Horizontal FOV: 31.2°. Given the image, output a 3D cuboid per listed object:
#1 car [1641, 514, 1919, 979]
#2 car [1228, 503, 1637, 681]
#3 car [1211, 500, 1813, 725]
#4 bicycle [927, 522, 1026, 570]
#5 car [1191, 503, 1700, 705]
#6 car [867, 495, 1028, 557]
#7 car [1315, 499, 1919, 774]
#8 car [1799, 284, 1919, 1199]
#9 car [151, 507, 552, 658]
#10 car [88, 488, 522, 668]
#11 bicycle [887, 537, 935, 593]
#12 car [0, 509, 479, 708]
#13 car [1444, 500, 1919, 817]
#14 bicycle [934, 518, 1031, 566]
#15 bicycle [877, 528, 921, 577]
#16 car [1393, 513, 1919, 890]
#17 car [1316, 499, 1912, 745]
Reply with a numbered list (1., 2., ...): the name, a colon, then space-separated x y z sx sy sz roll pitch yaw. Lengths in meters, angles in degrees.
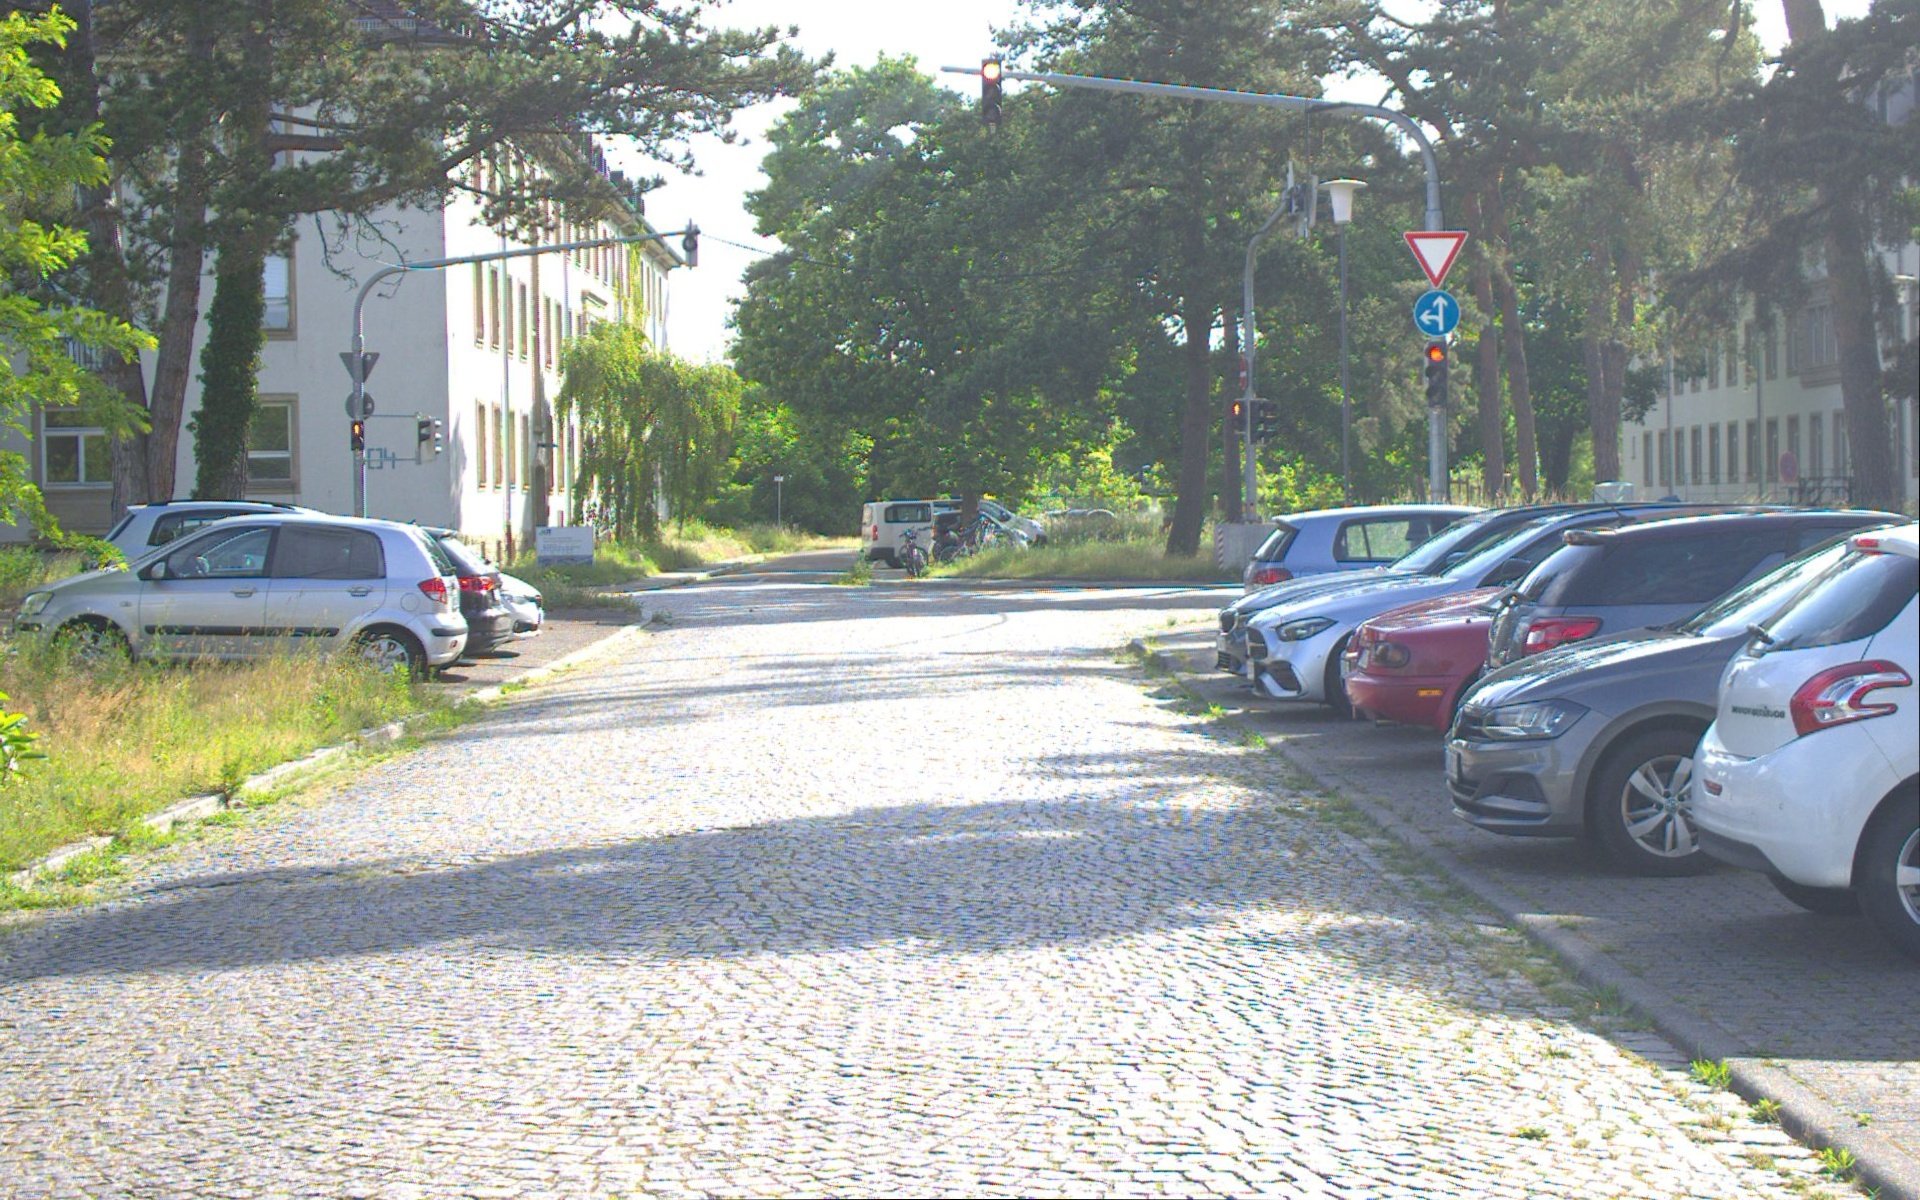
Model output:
1. car: 4.404 0.399 11.964 3.694 1.460 1.645 -2 1 0
2. car: 4.136 -0.092 30.409 3.343 1.477 1.646 -1 2 -2
3. car: 3.957 0.060 24.998 4.033 1.524 1.646 -1 2 -4
4. bicycle: 0.369 -1.250 79.382 2.172 1.096 0.807 0 1 -10
5. car: 3.868 0.007 27.769 3.835 1.524 1.646 -1 2 -2
6. car: -0.367 -2.078 96.839 4.480 1.722 2.000 0 2 -1
7. car: 3.961 0.185 20.460 3.478 1.524 1.646 -1 2 -2
8. car: 4.274 0.345 6.763 4.676 2.006 2.084 -1 2 -3
9. car: -6.562 -0.212 37.386 3.987 1.448 2.000 2 2 -1
10. car: -6.601 -0.247 34.983 3.987 1.596 2.000 3 1 -1
11. bicycle: -1.084 -0.775 75.926 0.804 1.165 2.181 -3 2 -6
12. car: -6.247 0.040 29.600 3.986 1.595 2.000 -1 2 -3
13. car: 4.378 0.257 17.770 3.478 1.524 1.646 -1 2 -2
14. bicycle: 0.525 -1.359 80.501 2.172 1.096 0.807 0 1 -10
15. bicycle: -1.412 -1.112 79.360 0.804 1.096 2.181 0 2 -6
16. car: 3.849 0.374 14.851 3.675 1.462 1.646 -2 2 -2
17. car: 4.274 0.117 22.817 3.602 1.524 1.646 -1 2 -2
